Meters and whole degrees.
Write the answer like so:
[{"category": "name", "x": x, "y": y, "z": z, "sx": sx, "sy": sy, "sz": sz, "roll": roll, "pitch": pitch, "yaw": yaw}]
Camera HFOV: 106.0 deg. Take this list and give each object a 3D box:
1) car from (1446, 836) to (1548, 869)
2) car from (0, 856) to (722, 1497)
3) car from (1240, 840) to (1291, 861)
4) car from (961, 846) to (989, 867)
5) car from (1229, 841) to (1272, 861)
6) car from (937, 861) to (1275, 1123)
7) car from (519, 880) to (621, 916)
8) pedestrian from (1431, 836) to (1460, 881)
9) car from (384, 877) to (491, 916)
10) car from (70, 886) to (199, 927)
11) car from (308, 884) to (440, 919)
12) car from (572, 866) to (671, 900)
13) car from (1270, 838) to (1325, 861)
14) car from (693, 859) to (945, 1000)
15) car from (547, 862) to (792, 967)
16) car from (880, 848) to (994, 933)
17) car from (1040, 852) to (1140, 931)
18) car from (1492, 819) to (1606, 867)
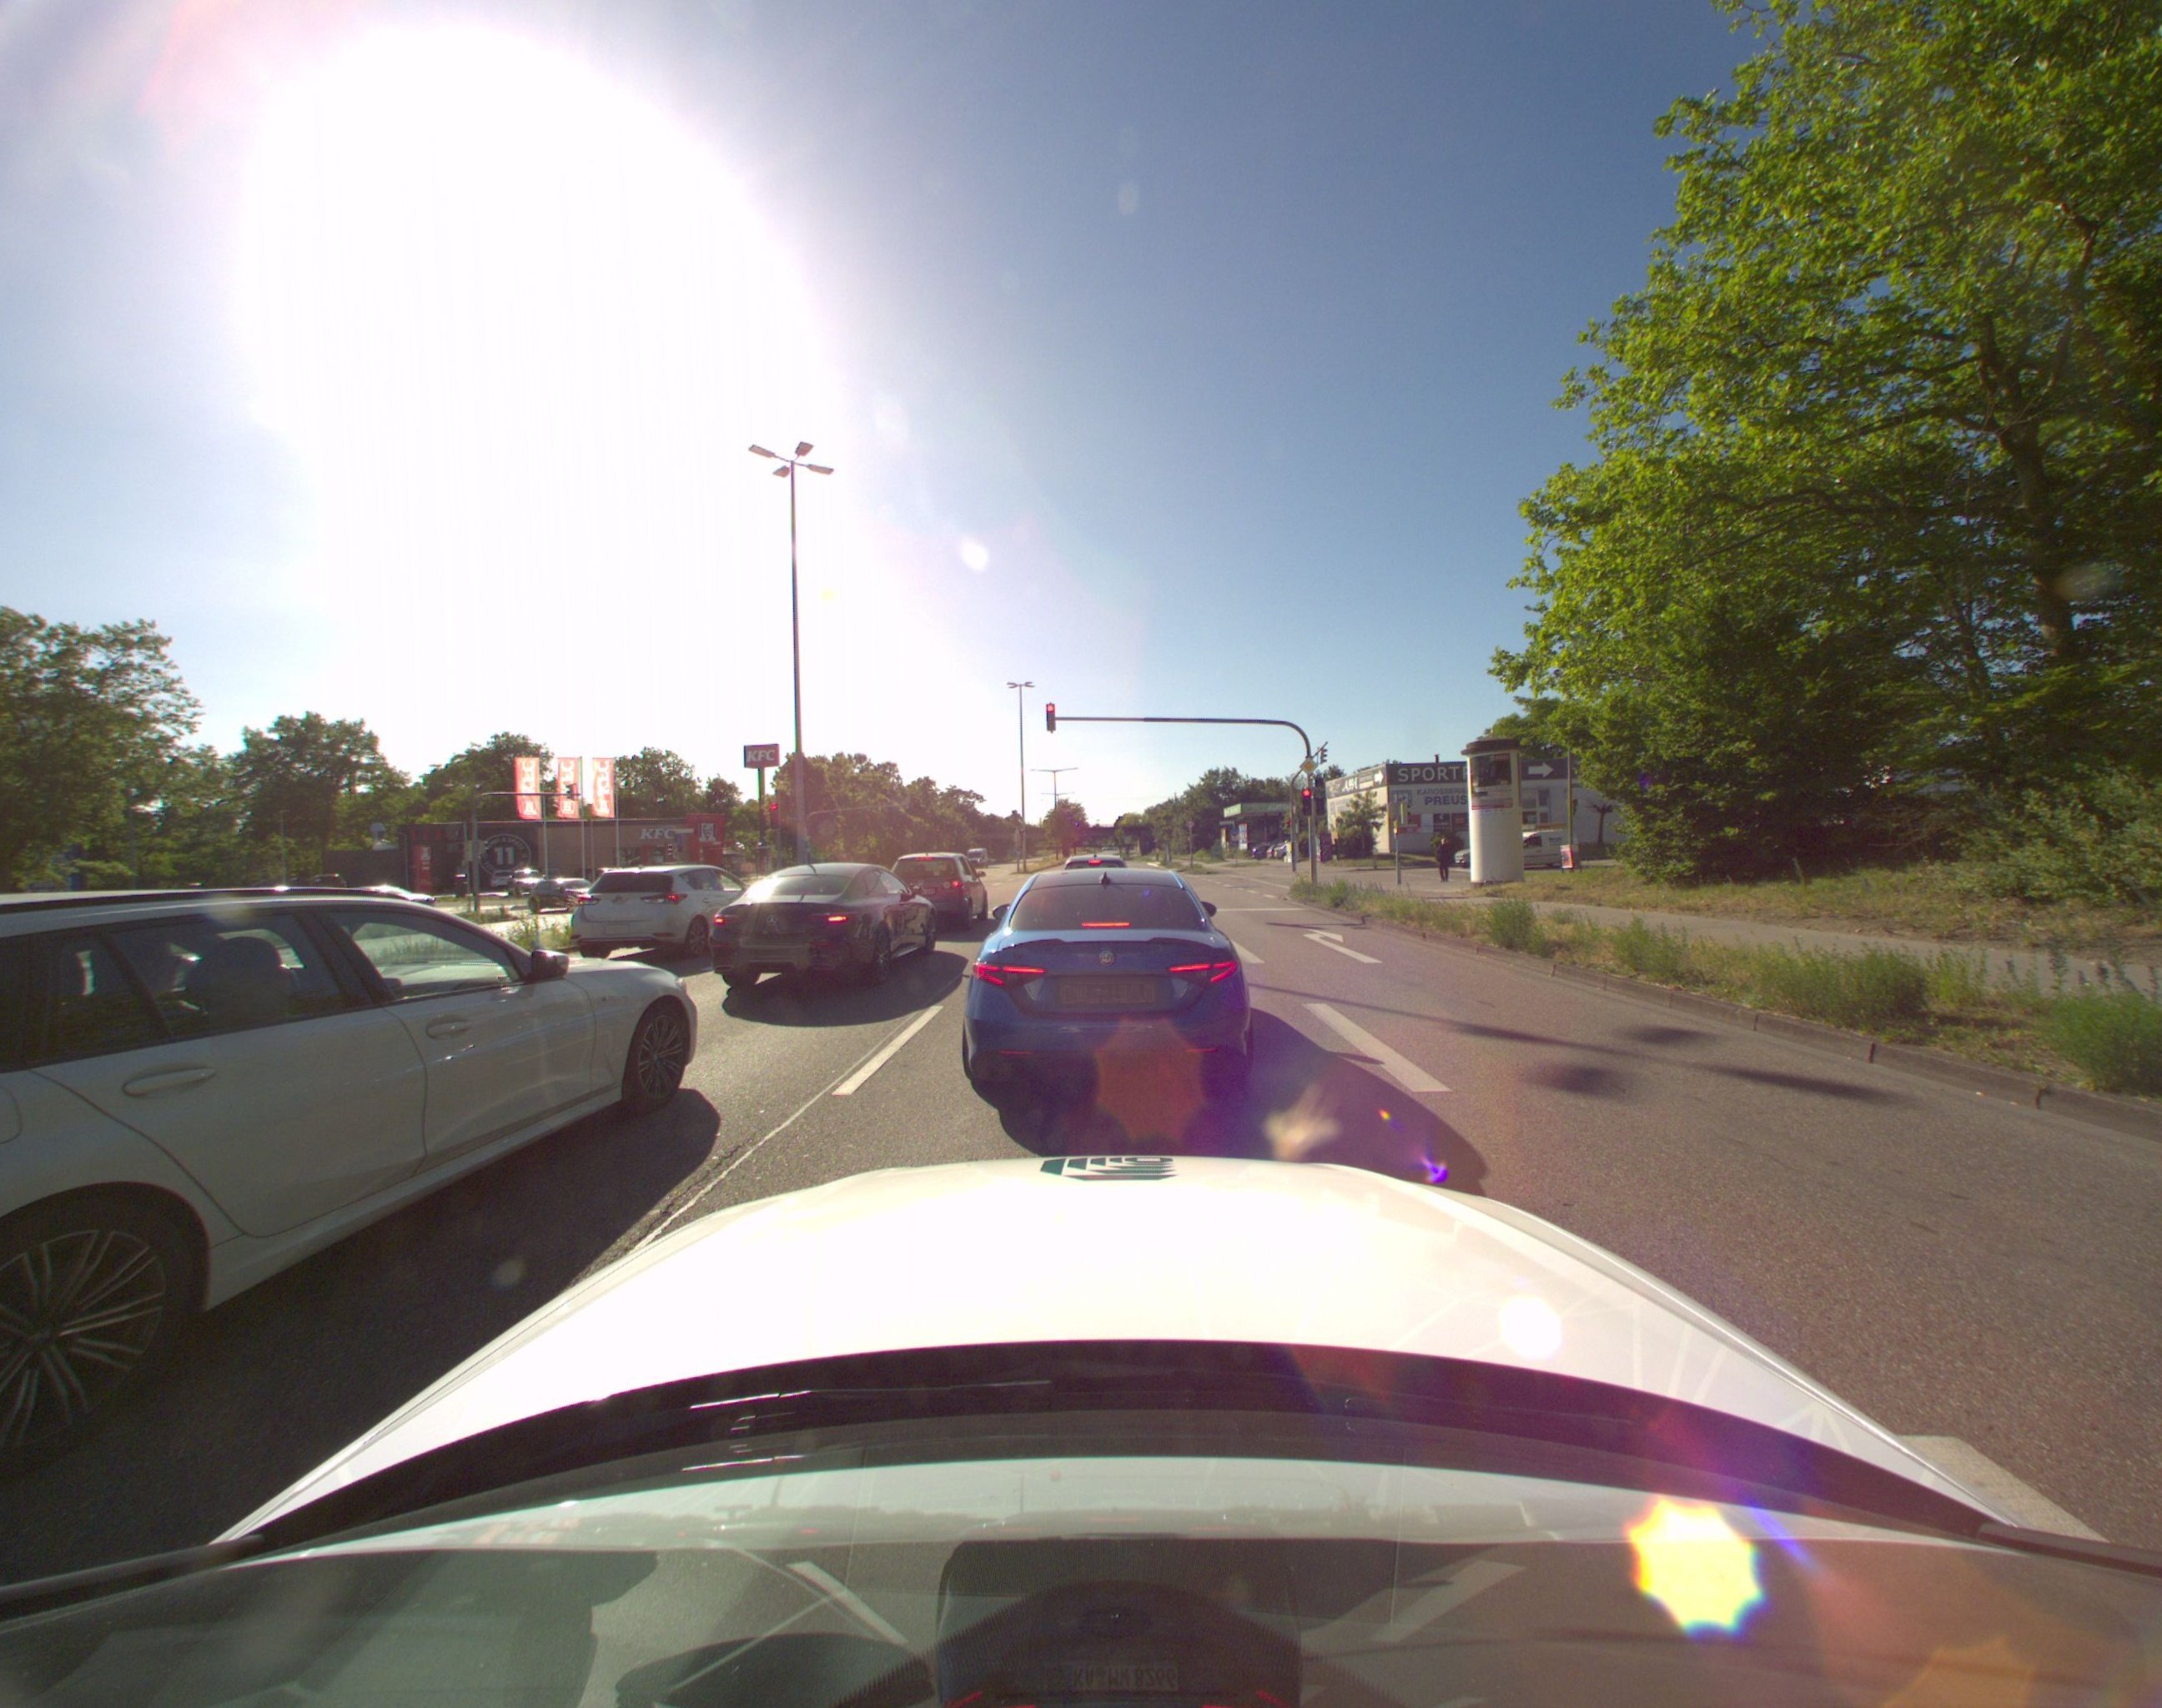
[{"category": "car", "x": 21.952, "y": -0.079, "z": 43.073, "sx": 4.393, "sy": 1.553, "sz": 1.999, "roll": -1, "pitch": 0, "yaw": -2}, {"category": "car", "x": -3.433, "y": 0.797, "z": 3.371, "sx": 1.762, "sy": 1.509, "sz": 4.463, "roll": -1, "pitch": 0, "yaw": 2}, {"category": "car", "x": 16.042, "y": -0.289, "z": 70.769, "sx": 3.997, "sy": 1.706, "sz": 1.685, "roll": -1, "pitch": 0, "yaw": -18}, {"category": "car", "x": -13.053, "y": 0.291, "z": 100.744, "sx": 2.422, "sy": 2.427, "sz": 5.833, "roll": -2, "pitch": 0, "yaw": 2}, {"category": "car", "x": 15.385, "y": -0.253, "z": 73.978, "sx": 3.489, "sy": 1.706, "sz": 1.687, "roll": -1, "pitch": 0, "yaw": -14}, {"category": "car", "x": 0.199, "y": 0.788, "z": 6.509, "sx": 1.859, "sy": 1.385, "sz": 3.933, "roll": -1, "pitch": 0, "yaw": 2}, {"category": "car", "x": -22.612, "y": 1.922, "z": 36.057, "sx": 4.001, "sy": 1.429, "sz": 1.835, "roll": -1, "pitch": 0, "yaw": 23}, {"category": "pedestrian", "x": 14.202, "y": 0.183, "z": 31.766, "sx": 0.818, "sy": 1.721, "sz": 0.856, "roll": -2, "pitch": 0, "yaw": 9}, {"category": "car", "x": -32.965, "y": 2.157, "z": 41.795, "sx": 4.020, "sy": 1.782, "sz": 1.826, "roll": -1, "pitch": 0, "yaw": 3}, {"category": "car", "x": -44.532, "y": 2.464, "z": 38.373, "sx": 3.972, "sy": 1.728, "sz": 1.759, "roll": -1, "pitch": 0, "yaw": 1}, {"category": "car", "x": -33.221, "y": 2.208, "z": 38.327, "sx": 4.697, "sy": 1.429, "sz": 1.866, "roll": -2, "pitch": 0, "yaw": 5}, {"category": "car", "x": -23.632, "y": 1.461, "z": 41.990, "sx": 4.026, "sy": 1.595, "sz": 1.823, "roll": -2, "pitch": 0, "yaw": -2}, {"category": "car", "x": 17.511, "y": -0.358, "z": 65.875, "sx": 3.993, "sy": 1.706, "sz": 1.687, "roll": -1, "pitch": 0, "yaw": -15}, {"category": "car", "x": -3.145, "y": 0.813, "z": 10.844, "sx": 1.762, "sy": 1.414, "sz": 4.463, "roll": -1, "pitch": 0, "yaw": 2}, {"category": "car", "x": -6.788, "y": 0.900, "z": 14.085, "sx": 1.850, "sy": 1.429, "sz": 4.405, "roll": -1, "pitch": 0, "yaw": 2}, {"category": "car", "x": -2.999, "y": 0.699, "z": 17.740, "sx": 1.642, "sy": 1.598, "sz": 3.933, "roll": -1, "pitch": 0, "yaw": 2}, {"category": "car", "x": 0.229, "y": 0.701, "z": 17.207, "sx": 1.859, "sy": 1.450, "sz": 3.933, "roll": -1, "pitch": 0, "yaw": 2}, {"category": "car", "x": 22.630, "y": -0.520, "z": 39.475, "sx": 4.393, "sy": 2.145, "sz": 1.999, "roll": -1, "pitch": 0, "yaw": -2}]
